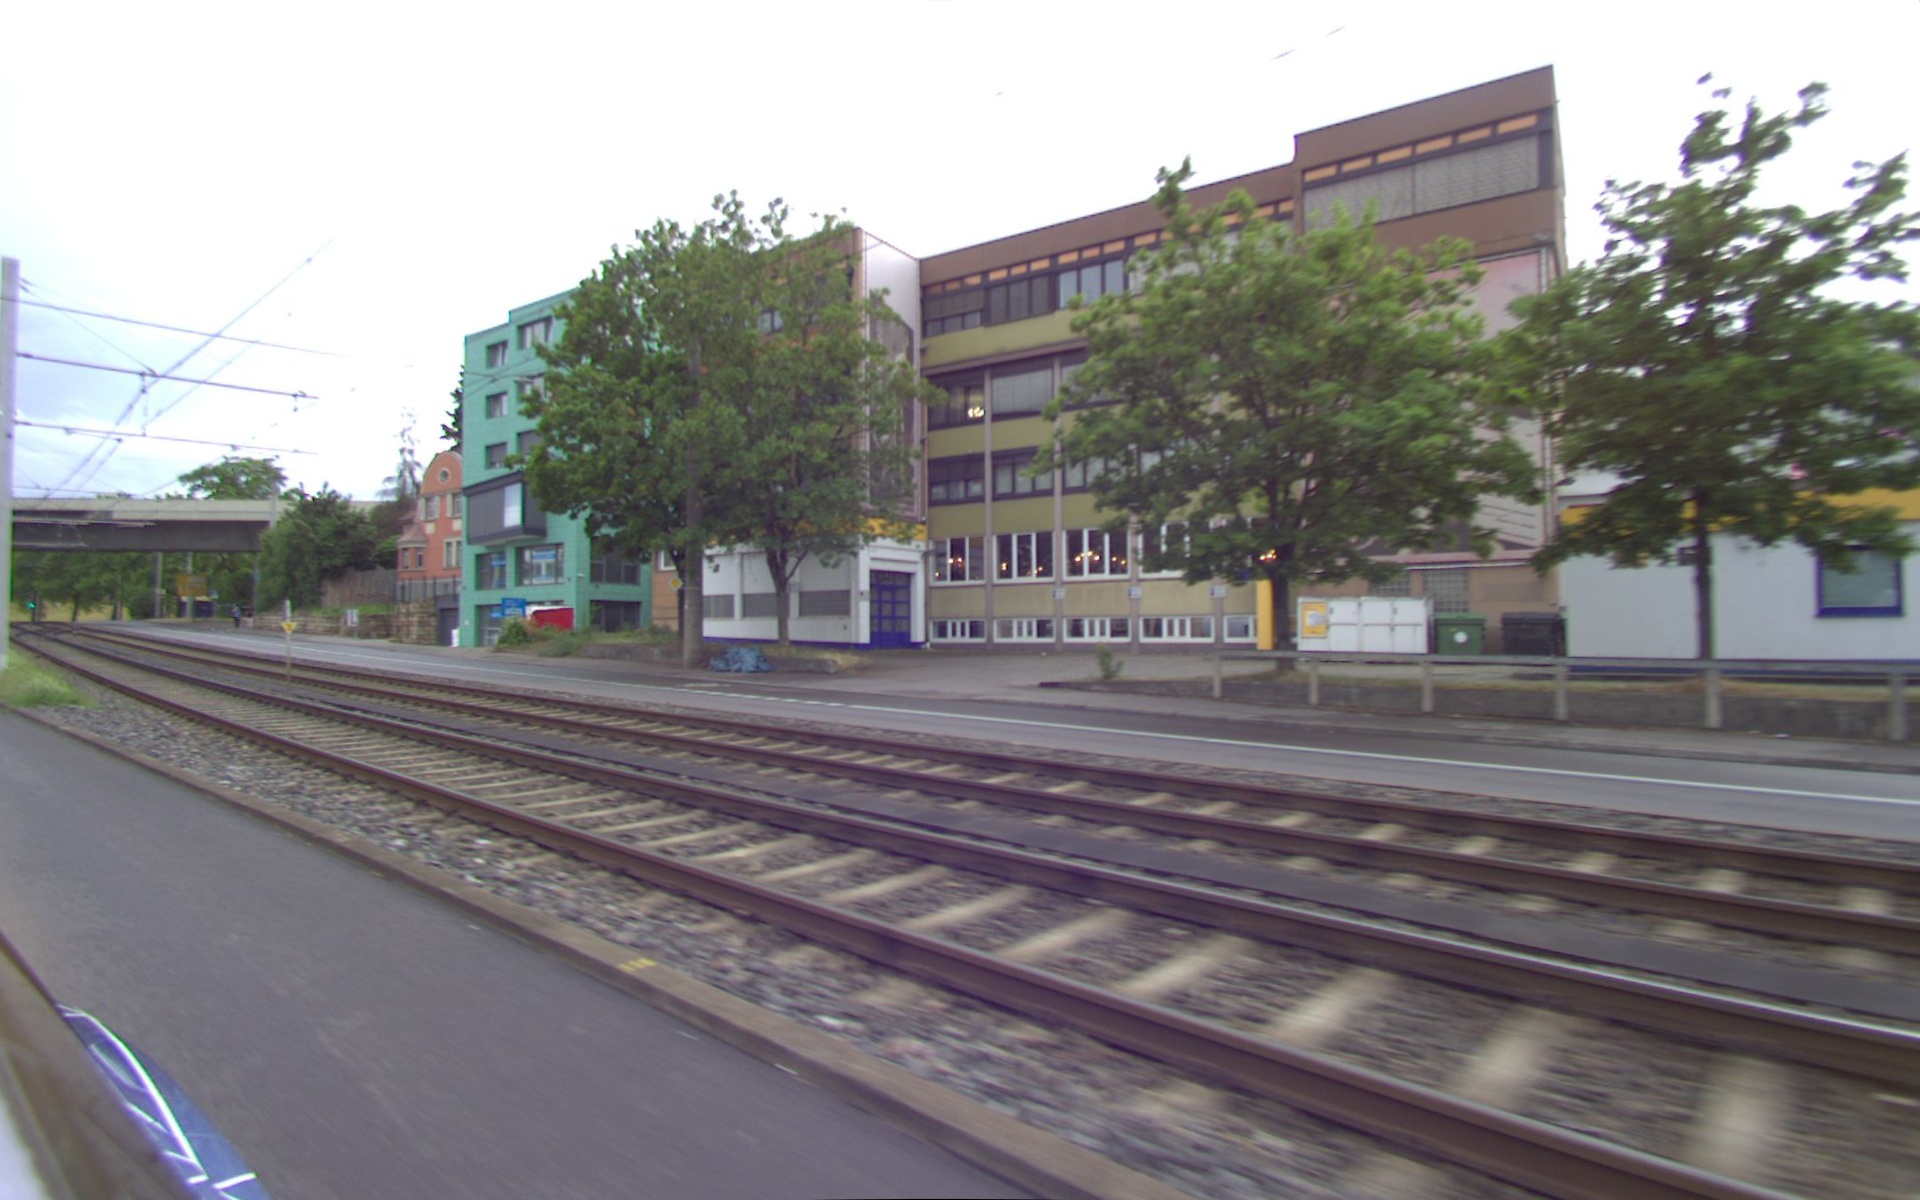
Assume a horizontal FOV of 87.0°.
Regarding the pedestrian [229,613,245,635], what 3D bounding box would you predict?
[{"bbox_3d":[-53.707,1.795,75.170,1.022,1.657,0.736,-2,-2,44],"label":"pedestrian"}]
